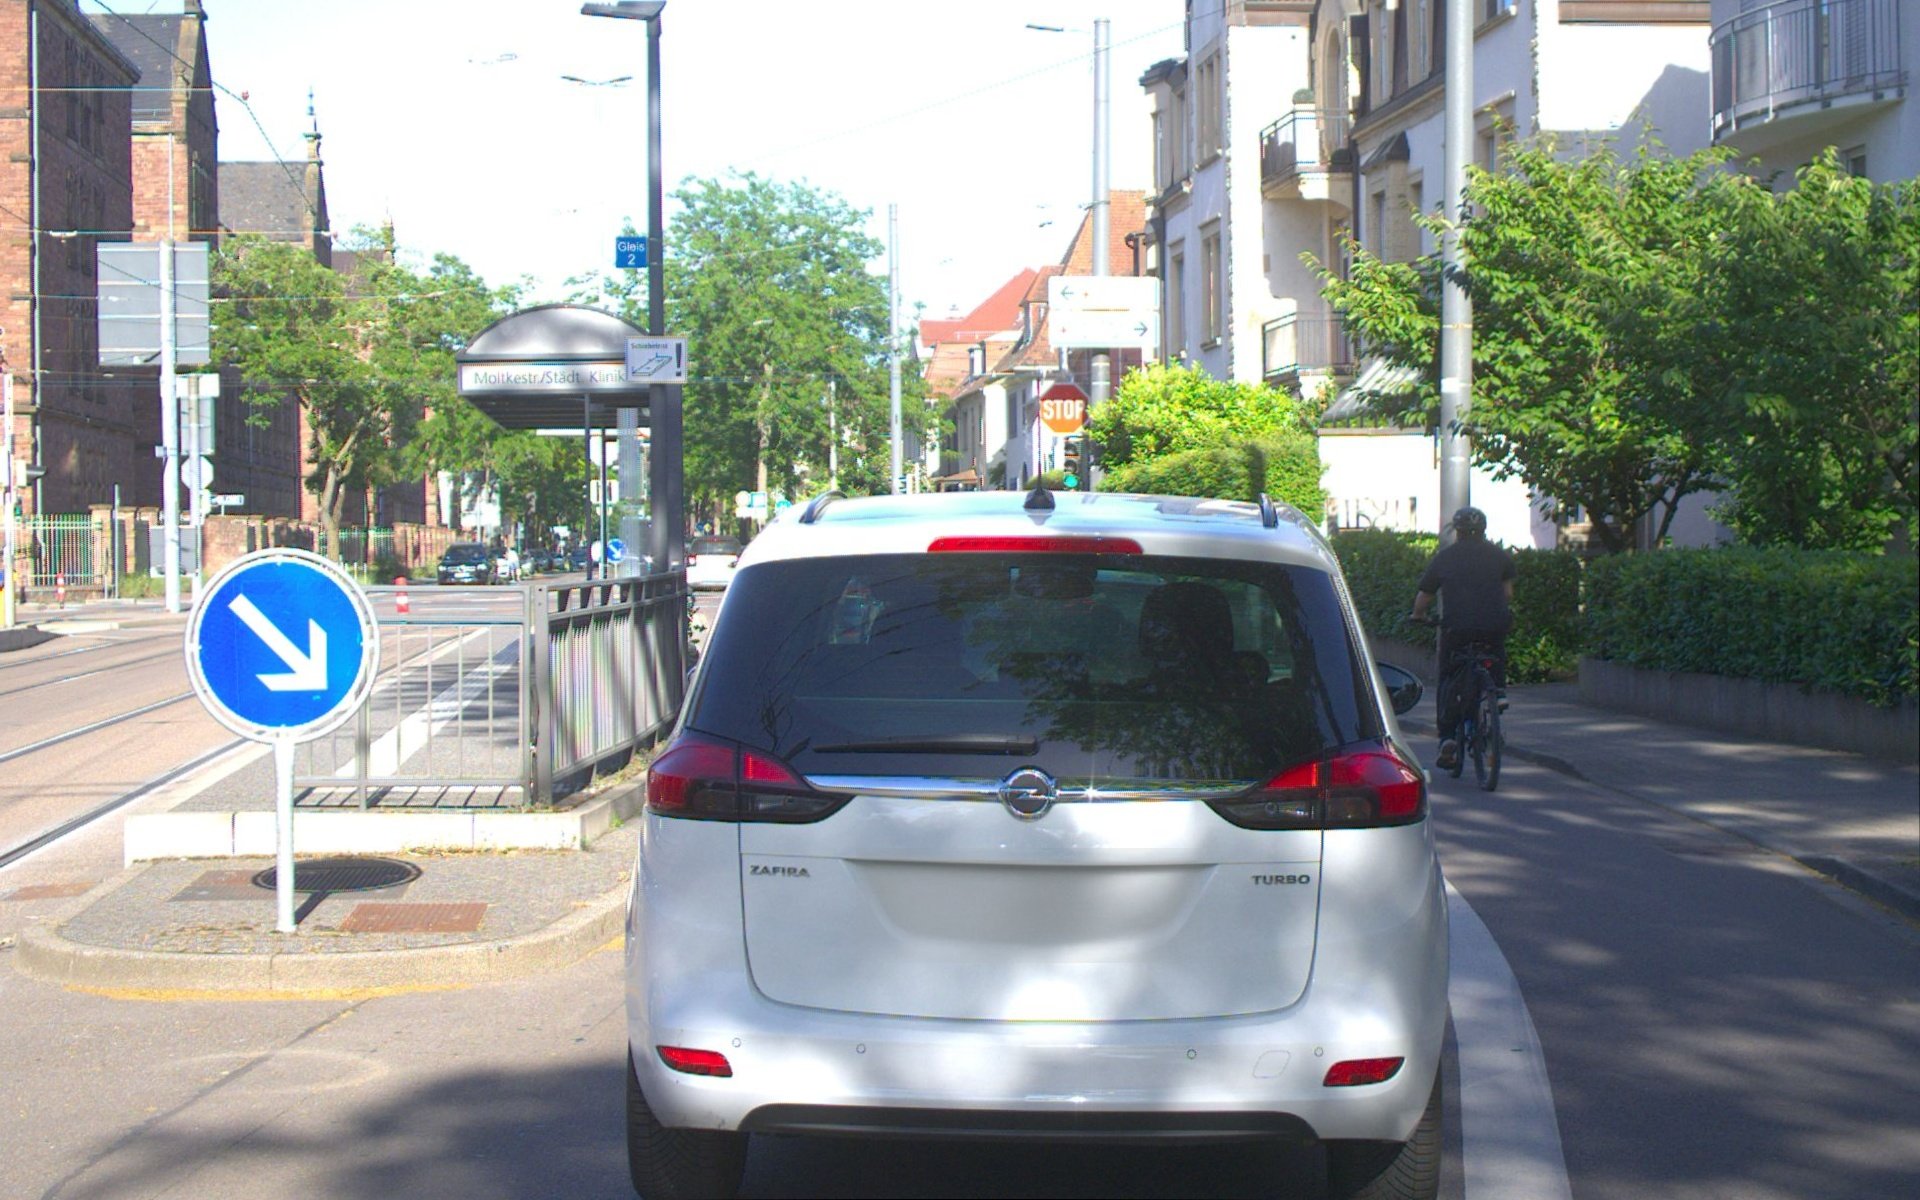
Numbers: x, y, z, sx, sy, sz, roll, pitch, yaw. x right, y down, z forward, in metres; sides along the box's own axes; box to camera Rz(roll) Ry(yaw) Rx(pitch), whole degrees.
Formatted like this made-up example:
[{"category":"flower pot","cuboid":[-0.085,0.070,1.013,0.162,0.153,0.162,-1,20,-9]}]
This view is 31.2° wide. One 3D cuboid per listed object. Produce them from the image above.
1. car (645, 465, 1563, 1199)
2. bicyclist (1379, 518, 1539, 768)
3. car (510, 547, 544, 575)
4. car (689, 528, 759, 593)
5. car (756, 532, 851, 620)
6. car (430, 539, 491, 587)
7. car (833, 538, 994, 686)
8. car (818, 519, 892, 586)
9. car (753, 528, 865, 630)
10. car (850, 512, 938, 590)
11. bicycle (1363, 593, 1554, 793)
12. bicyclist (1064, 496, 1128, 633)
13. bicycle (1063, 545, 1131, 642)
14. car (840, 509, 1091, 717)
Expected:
[{"category":"car","cuboid":[0.151,0.530,8.804,1.834,1.636,3.919,0,1,-4]},{"category":"bicyclist","cuboid":[3.045,0.252,21.051,0.821,1.496,0.934,0,1,-1]},{"category":"car","cuboid":[-25.960,-2.333,206.054,1.906,1.671,4.001,0,1,-6]},{"category":"car","cuboid":[-6.175,-1.035,90.288,1.776,1.687,3.881,0,1,-3]},{"category":"car","cuboid":[-2.993,-0.465,65.990,1.776,1.626,3.881,0,1,-2]},{"category":"car","cuboid":[-17.886,-1.339,123.293,1.906,1.671,4.359,0,1,-5]},{"category":"car","cuboid":[-0.559,0.108,39.897,1.776,1.626,3.881,0,1,-1]},{"category":"car","cuboid":[-2.633,-1.186,85.627,1.776,1.626,3.881,0,1,-3]},{"category":"car","cuboid":[-2.497,-0.357,56.658,1.776,1.626,3.881,0,1,-3]},{"category":"car","cuboid":[-1.451,-1.056,74.555,1.776,1.626,3.881,0,1,-3]},{"category":"bicycle","cuboid":[3.040,0.543,21.174,0.829,1.150,2.095,0,1,-1]},{"category":"bicyclist","cuboid":[1.648,-0.431,41.675,0.685,1.629,1.015,0,1,-2]},{"category":"bicycle","cuboid":[1.654,-0.083,41.616,0.685,1.153,1.620,0,1,-2]},{"category":"car","cuboid":[-0.023,0.081,28.846,1.775,1.626,3.881,0,1,-5]}]
